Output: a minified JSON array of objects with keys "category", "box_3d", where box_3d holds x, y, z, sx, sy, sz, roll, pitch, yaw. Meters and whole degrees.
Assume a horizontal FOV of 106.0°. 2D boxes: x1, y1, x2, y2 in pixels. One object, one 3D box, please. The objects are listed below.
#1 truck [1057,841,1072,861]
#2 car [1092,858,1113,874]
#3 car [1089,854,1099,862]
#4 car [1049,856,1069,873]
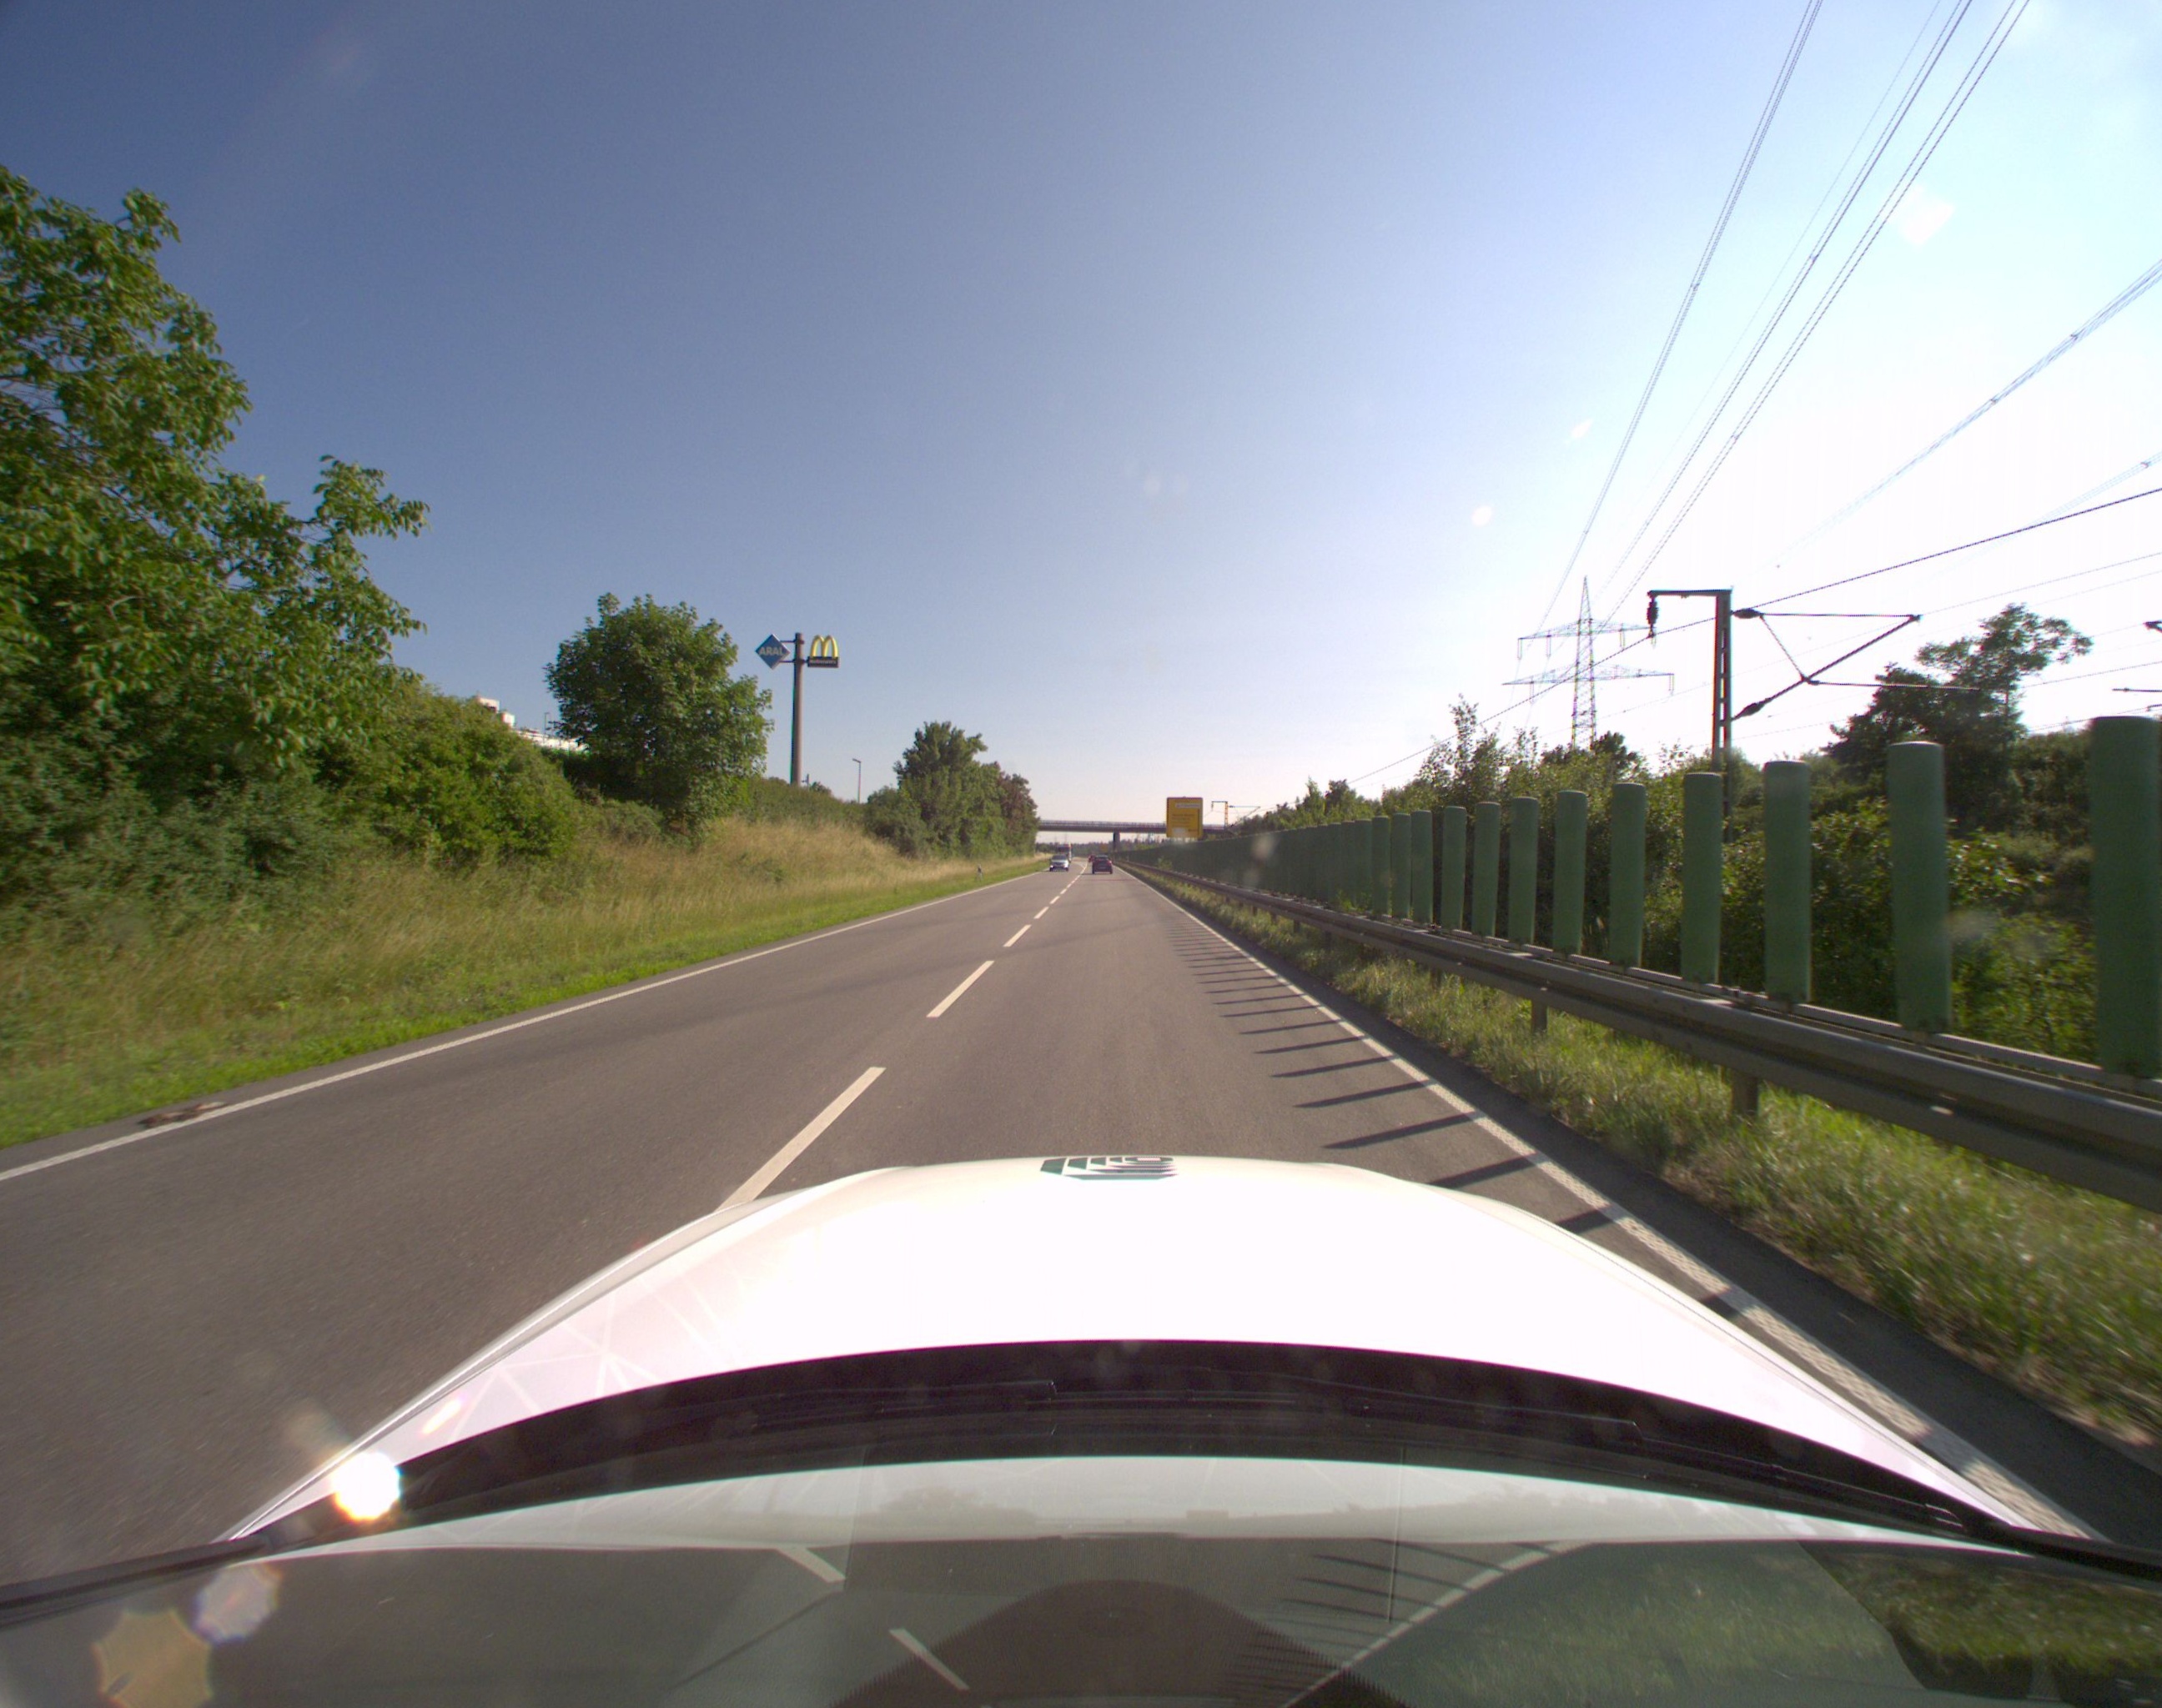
[{"category":"truck","box_3d":[-3.090,-0.530,152.519,2.551,3.688,10.486,0,0,0]},{"category":"car","box_3d":[1.707,0.922,65.312,1.658,1.261,3.999,0,-1,0]},{"category":"car","box_3d":[2.457,0.798,153.835,1.889,1.418,3.999,0,-1,0]},{"category":"car","box_3d":[-2.065,0.961,76.987,1.790,1.593,4.000,0,-1,0]}]
